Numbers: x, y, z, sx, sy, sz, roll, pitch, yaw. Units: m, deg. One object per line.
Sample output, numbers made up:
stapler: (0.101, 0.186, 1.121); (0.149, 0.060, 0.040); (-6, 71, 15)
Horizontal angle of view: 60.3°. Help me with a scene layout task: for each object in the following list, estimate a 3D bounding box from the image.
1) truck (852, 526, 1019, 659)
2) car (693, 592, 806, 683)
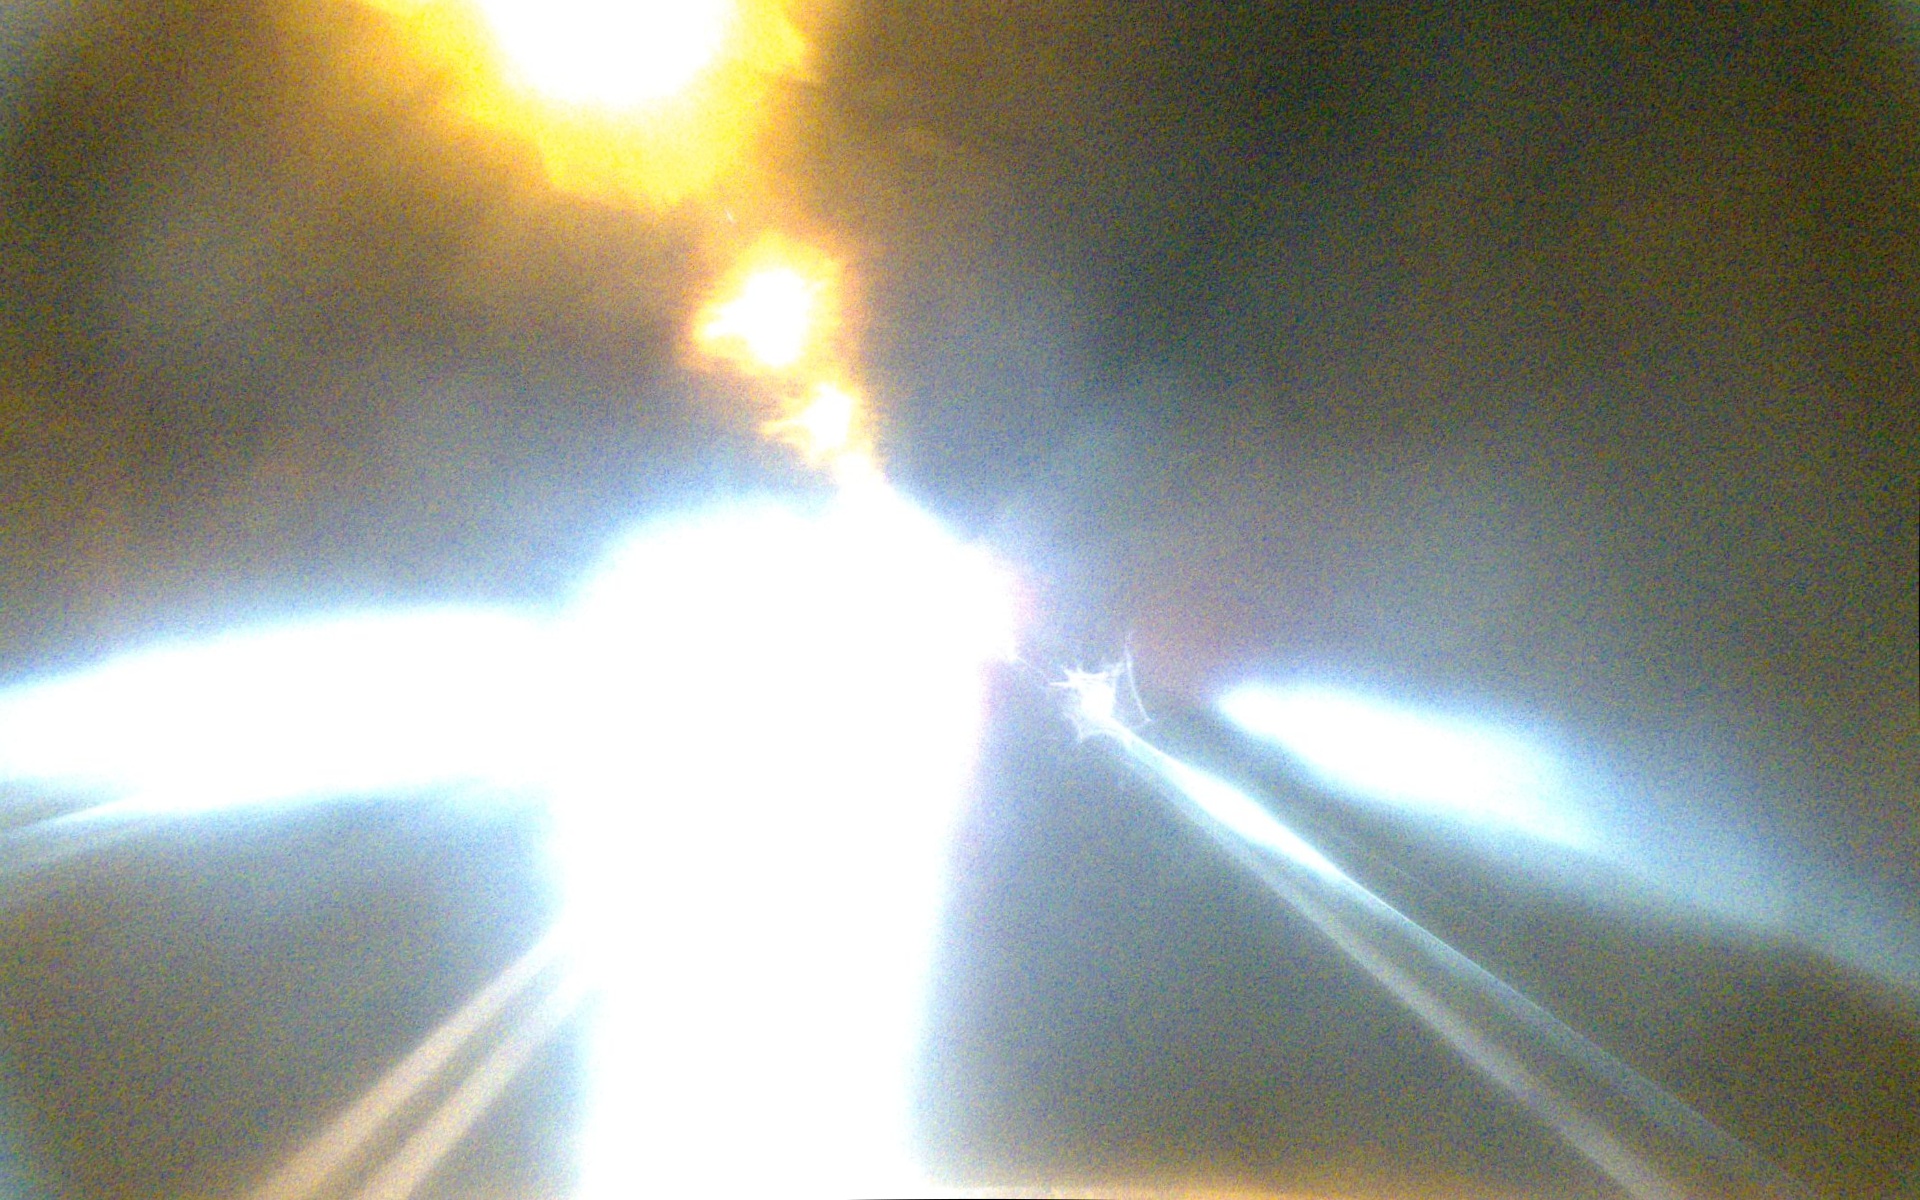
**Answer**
truck: (-0.570, -0.164, 39.162); (3.463, 2.740, 8.954); (-1, 0, -1)
car: (-3.944, 0.678, 31.524); (1.713, 1.612, 3.999); (0, 0, -1)
